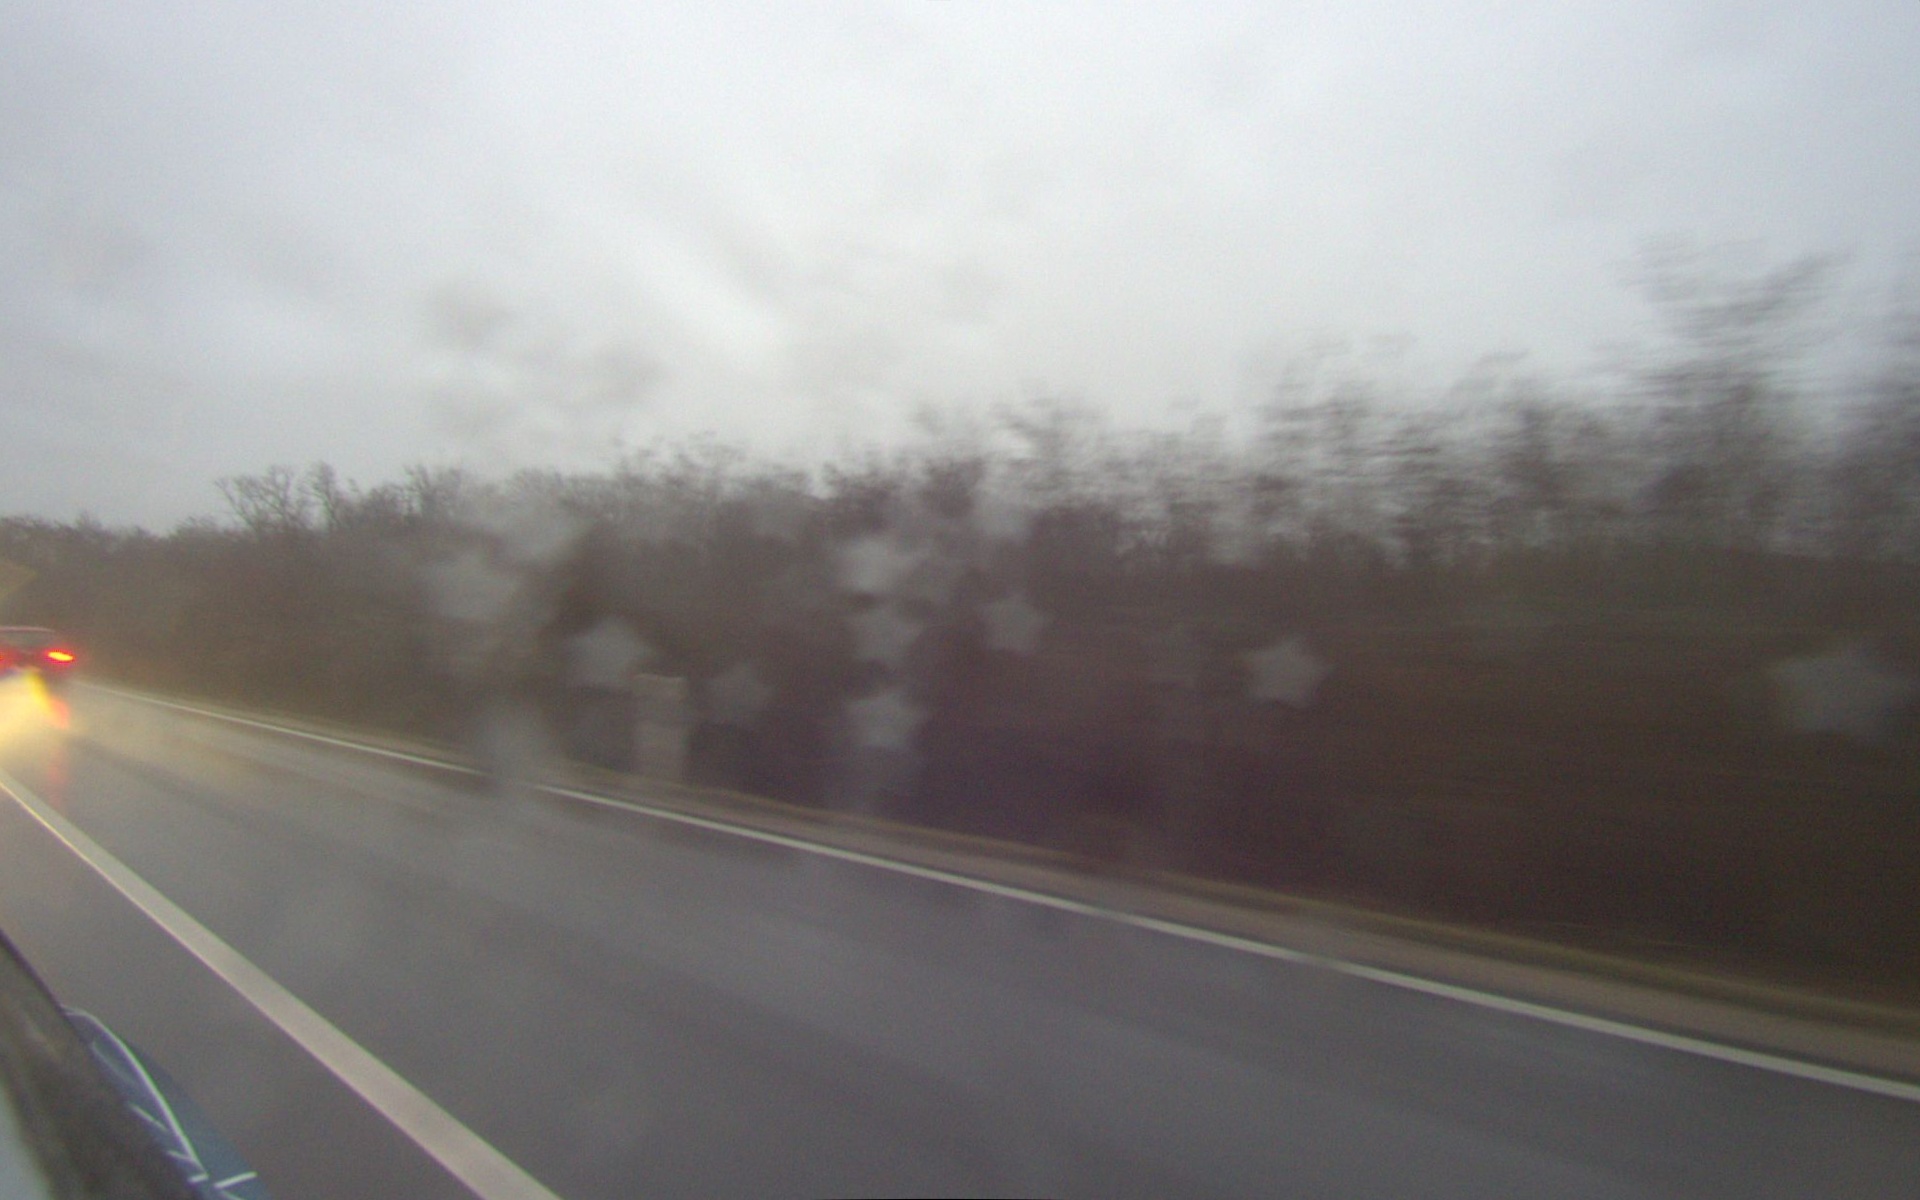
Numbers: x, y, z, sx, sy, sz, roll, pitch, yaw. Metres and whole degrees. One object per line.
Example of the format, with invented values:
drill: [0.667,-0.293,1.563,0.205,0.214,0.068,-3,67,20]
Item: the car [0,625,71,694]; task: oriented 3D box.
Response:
car: [-21.807,1.313,23.129,3.979,1.468,1.615,-1,-4,40]
